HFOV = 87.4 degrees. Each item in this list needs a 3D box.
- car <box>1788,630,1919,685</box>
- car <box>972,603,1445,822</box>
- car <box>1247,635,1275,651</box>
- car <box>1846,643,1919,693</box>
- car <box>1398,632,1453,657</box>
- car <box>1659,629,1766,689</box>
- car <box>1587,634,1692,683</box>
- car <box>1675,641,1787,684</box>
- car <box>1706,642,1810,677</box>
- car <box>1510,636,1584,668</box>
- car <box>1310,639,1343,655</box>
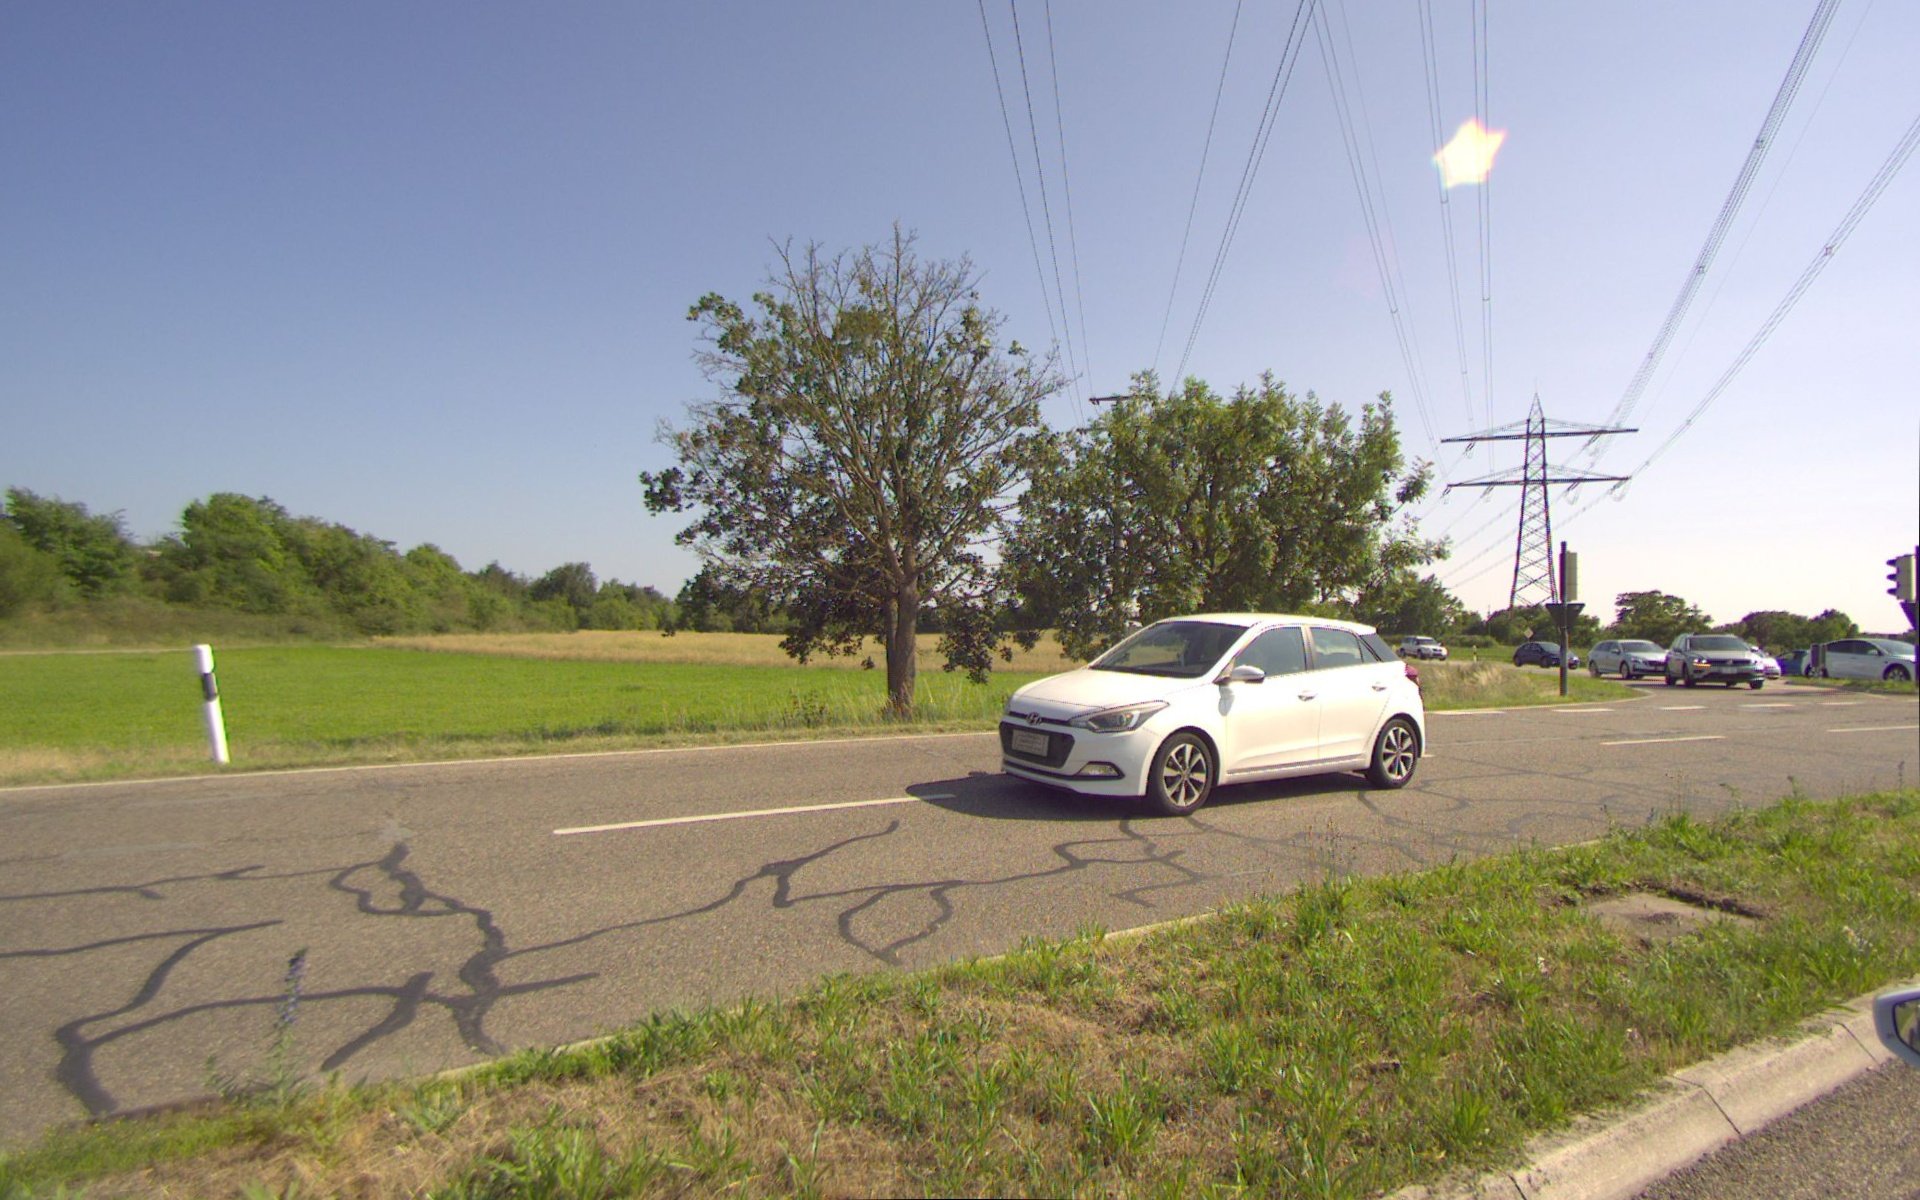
[{"bbox_3d":[30.506,1.876,33.486,1.785,1.673,4.761,1,-2,-2],"label":"car"},{"bbox_3d":[2.188,0.821,8.576,3.868,1.484,1.708,2,-1,-32],"label":"car"},{"bbox_3d":[31.665,4.489,105.841,1.784,1.505,4.000,2,0,1],"label":"car"},{"bbox_3d":[33.599,2.385,35.055,1.785,1.673,4.000,1,-1,-2],"label":"car"},{"bbox_3d":[32.607,3.092,70.481,1.785,1.505,3.998,2,0,-3],"label":"car"},{"bbox_3d":[22.746,1.739,30.514,1.786,1.673,3.997,0,-2,25],"label":"car"},{"bbox_3d":[25.260,2.123,37.499,1.783,1.673,4.003,1,-2,10],"label":"car"},{"bbox_3d":[33.617,2.697,43.941,1.785,1.673,4.000,1,-1,-2],"label":"car"},{"bbox_3d":[38.751,2.862,48.901,1.774,1.539,3.877,1,-2,-6],"label":"car"},{"bbox_3d":[33.072,2.912,56.741,1.785,1.673,4.000,1,-1,-2],"label":"car"},{"bbox_3d":[37.489,4.772,102.944,1.773,1.539,3.879,1,-2,-4],"label":"car"}]
